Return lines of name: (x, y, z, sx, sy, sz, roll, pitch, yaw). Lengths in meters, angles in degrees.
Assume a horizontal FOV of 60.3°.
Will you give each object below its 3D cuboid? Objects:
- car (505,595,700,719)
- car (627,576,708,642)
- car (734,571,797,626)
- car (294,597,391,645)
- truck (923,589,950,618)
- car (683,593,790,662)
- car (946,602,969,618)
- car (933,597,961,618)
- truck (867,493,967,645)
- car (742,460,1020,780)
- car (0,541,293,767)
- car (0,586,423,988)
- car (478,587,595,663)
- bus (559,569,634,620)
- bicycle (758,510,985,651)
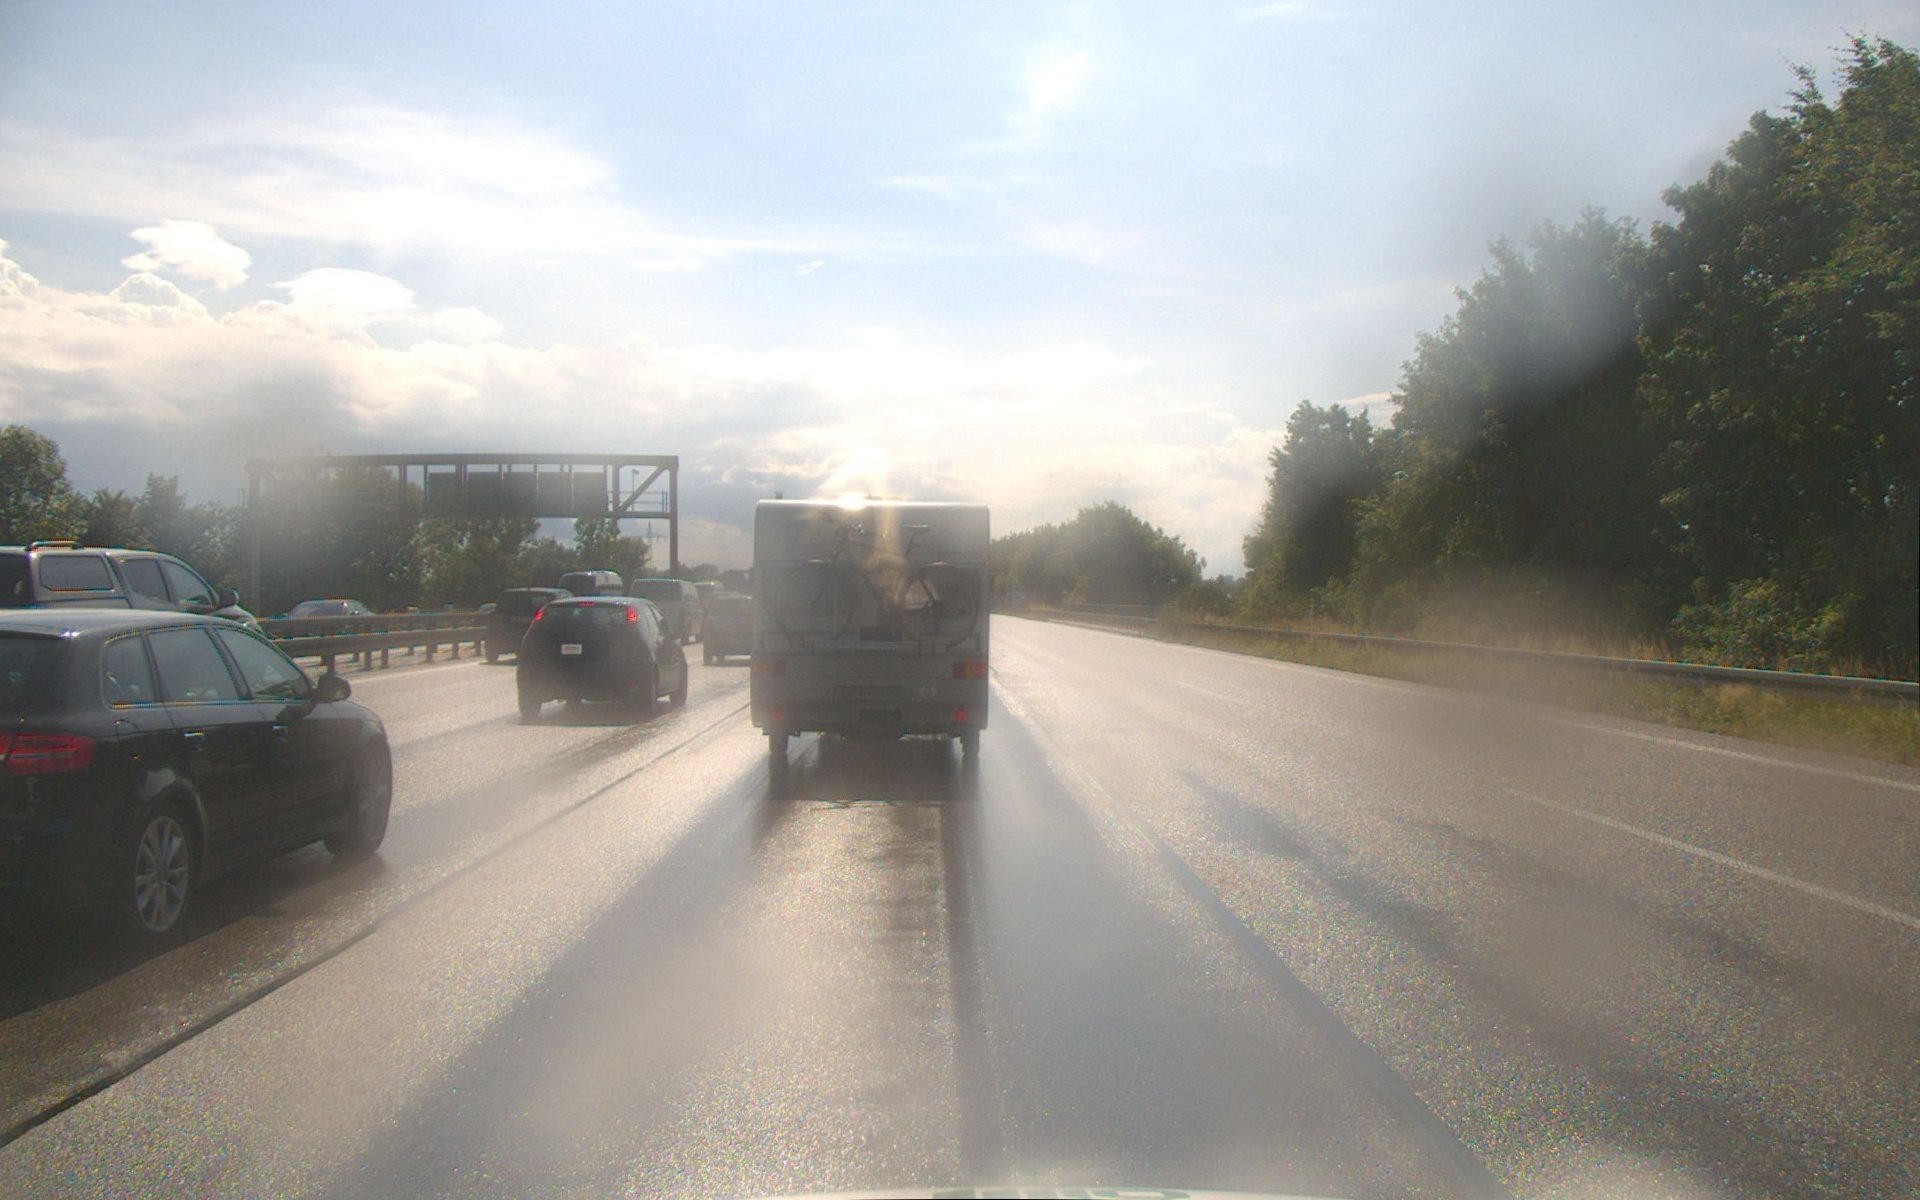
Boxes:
car: (-4.604, 0.678, 21.842, 1.723, 1.468, 4.000, 1, 0, -1)
car: (-9.139, 0.269, 52.033, 1.810, 1.967, 5.014, 1, 0, -2)
car: (-6.182, -0.048, 52.767, 1.655, 1.691, 3.639, 0, 0, -2)
car: (-17.192, 0.567, 46.168, 1.480, 1.288, 3.407, 1, 0, -1)
truck: (-2.055, 0.296, 146.121, 2.366, 2.486, 6.052, 1, 0, -1)
car: (-5.050, 0.598, 37.898, 1.947, 1.483, 3.826, 1, 0, -1)
car: (-0.274, 0.929, 156.262, 1.840, 1.521, 3.996, 1, 0, -5)
car: (-1.035, 0.559, 126.263, 1.799, 1.585, 3.996, 1, 0, -5)
truck: (-1.545, -0.976, 56.978, 3.083, 4.707, 10.731, 0, 0, -2)
car: (-0.693, 0.182, 16.286, 2.361, 2.721, 3.999, 1, 0, -1)
car: (-8.616, 0.433, 16.466, 1.770, 1.876, 5.417, 1, 0, 0)
car: (-4.122, 0.665, 8.020, 1.714, 1.458, 4.054, 1, 0, 0)
car: (-9.442, 0.526, 37.131, 1.747, 1.606, 3.914, 1, 0, -2)
bus: (-26.045, -0.400, 119.260, 2.832, 3.433, 12.468, 0, 0, -1)
bicycle: (-0.743, -0.163, 14.091, 1.894, 1.161, 0.384, 1, -1, 0)
